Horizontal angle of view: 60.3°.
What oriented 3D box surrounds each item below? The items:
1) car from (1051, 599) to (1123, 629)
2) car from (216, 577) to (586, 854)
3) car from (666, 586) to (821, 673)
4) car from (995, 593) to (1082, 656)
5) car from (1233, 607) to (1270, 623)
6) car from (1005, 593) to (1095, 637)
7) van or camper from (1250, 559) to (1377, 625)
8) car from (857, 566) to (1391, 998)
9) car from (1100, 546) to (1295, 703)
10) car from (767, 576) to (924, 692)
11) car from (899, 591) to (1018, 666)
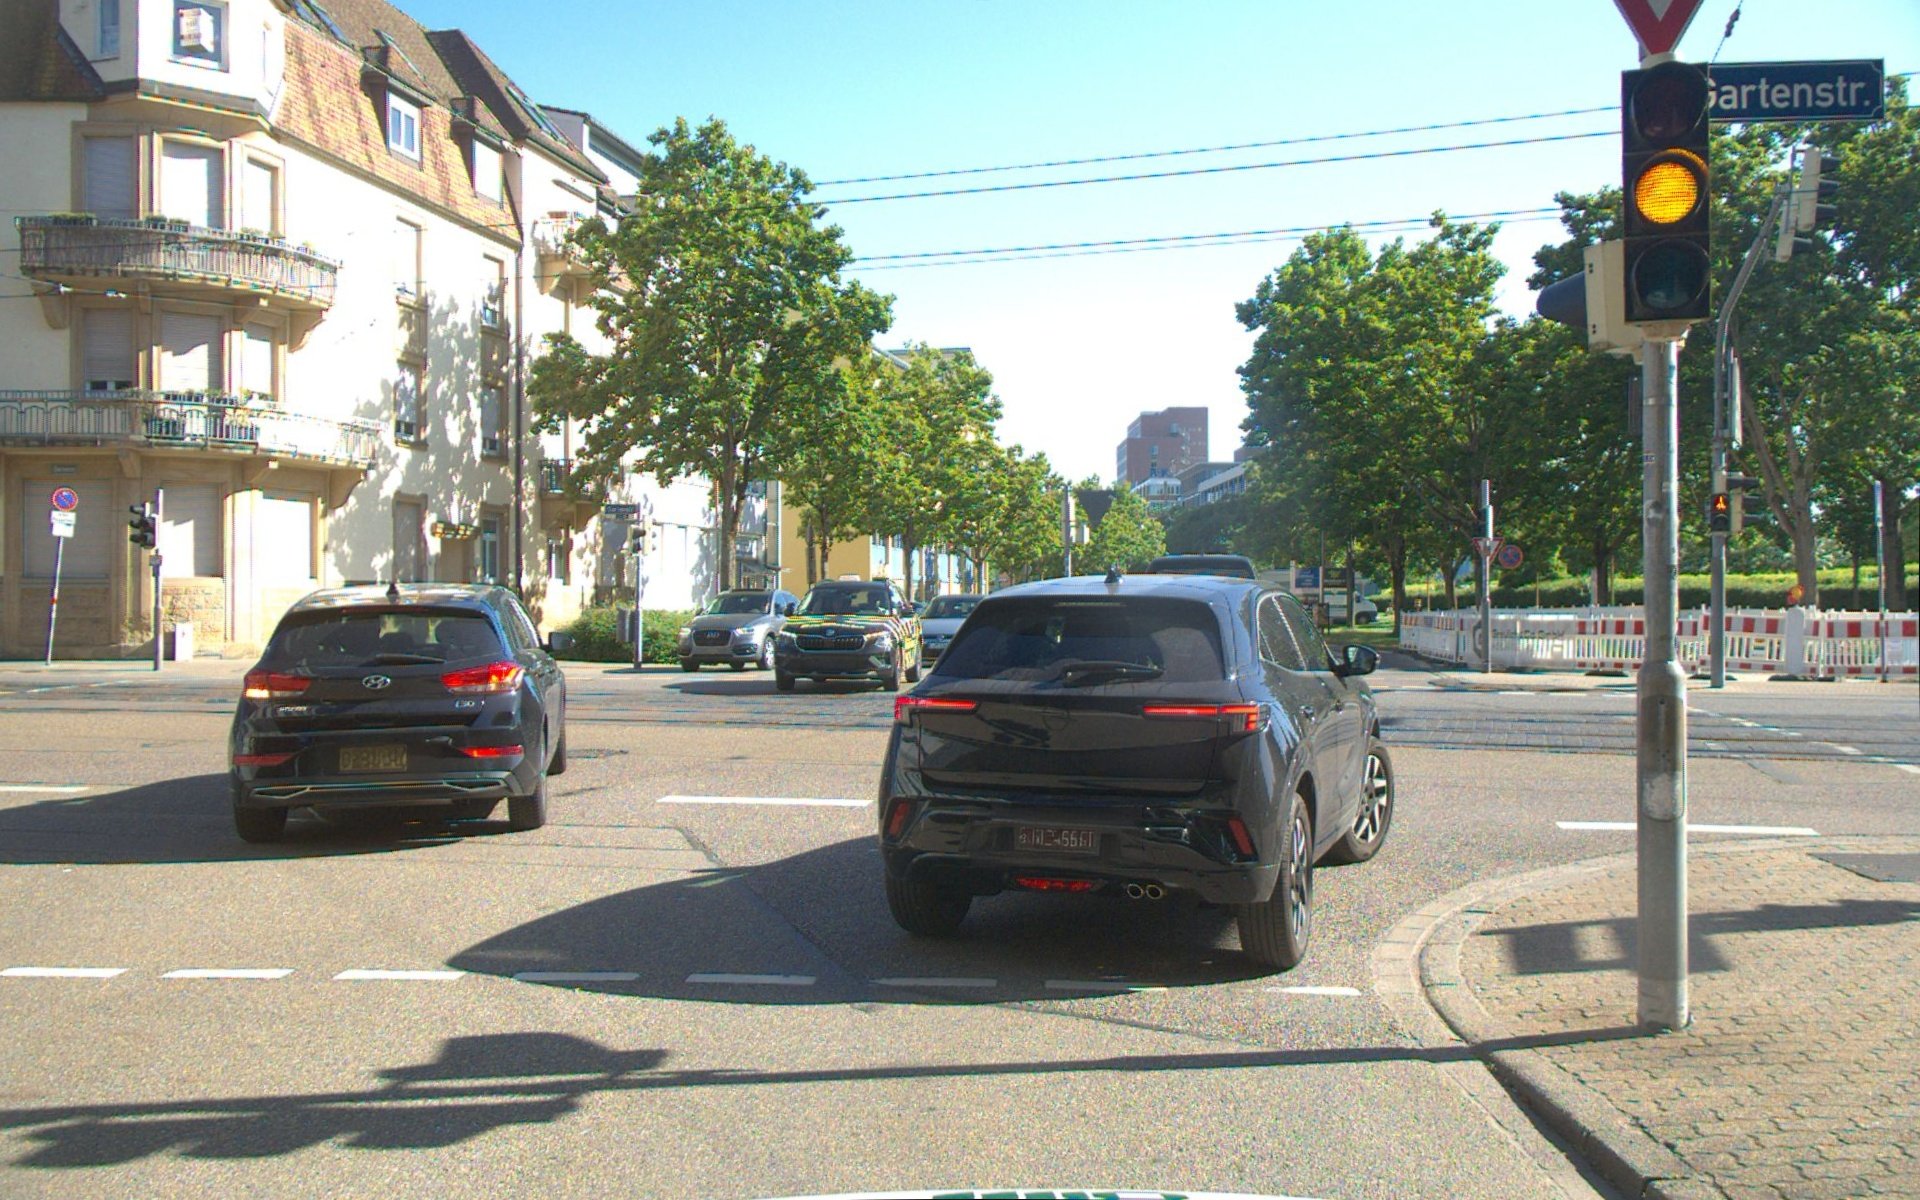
[{"bbox_3d":[9.203,1.029,119.630,4.820,2.119,1.971,-1,-1,-24],"label":"car"},{"bbox_3d":[-3.542,0.593,11.243,1.768,1.476,4.315,0,1,-11],"label":"car"},{"bbox_3d":[-4.253,0.554,33.215,1.844,1.638,4.152,0,0,11],"label":"car"},{"bbox_3d":[2.127,0.631,44.013,1.668,1.539,3.866,-2,0,12],"label":"car"},{"bbox_3d":[26.263,1.318,149.197,3.175,1.300,1.517,-3,-1,9],"label":"car"},{"bbox_3d":[5.509,0.910,101.801,5.173,2.590,1.978,-1,-1,-15],"label":"car"},{"bbox_3d":[17.512,-0.372,82.227,5.949,2.980,2.577,-3,-1,10],"label":"van or camper"},{"bbox_3d":[1.033,0.647,7.991,1.744,1.544,3.756,0,0,19],"label":"car"},{"bbox_3d":[3.328,0.295,22.315,2.087,1.867,4.944,0,0,14],"label":"car"},{"bbox_3d":[-1.572,0.456,24.121,1.750,1.540,4.118,0,0,3],"label":"car"},{"bbox_3d":[0.034,0.558,34.401,1.671,1.477,3.854,0,0,12],"label":"car"}]
